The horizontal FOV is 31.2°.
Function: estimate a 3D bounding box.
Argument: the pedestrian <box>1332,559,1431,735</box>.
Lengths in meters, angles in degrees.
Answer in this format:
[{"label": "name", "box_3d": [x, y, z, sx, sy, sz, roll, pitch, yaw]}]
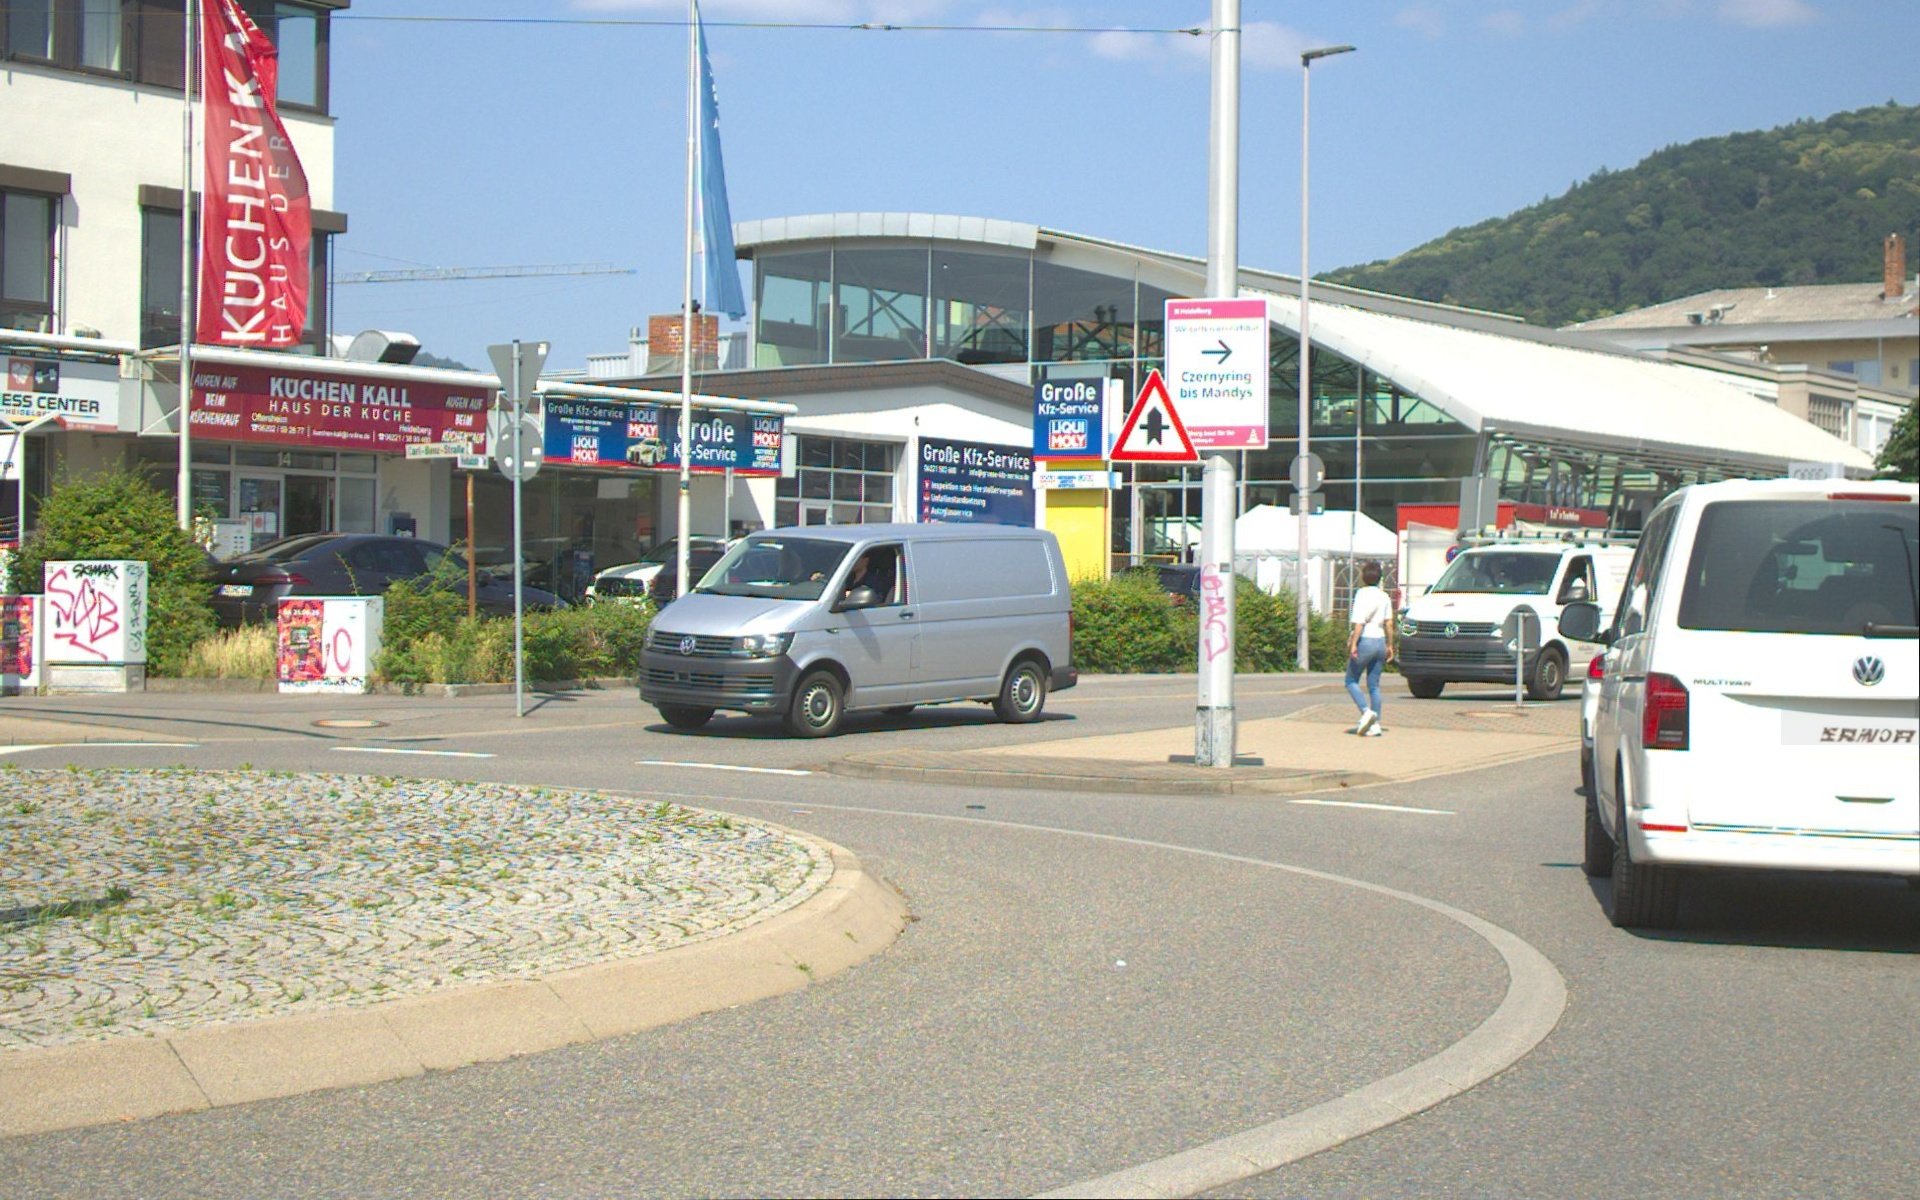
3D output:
[{"label": "pedestrian", "box_3d": [4.009, 0.440, 32.750, 0.759, 1.651, 0.673, 1, 0, -8]}]

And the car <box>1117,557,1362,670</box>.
[{"label": "car", "box_3d": [4.242, 0.175, 51.694, 1.997, 1.612, 3.992, 1, 1, 33]}]

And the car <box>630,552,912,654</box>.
[{"label": "car", "box_3d": [-2.750, 0.036, 51.053, 2.030, 1.422, 4.309, 1, 0, 32]}]

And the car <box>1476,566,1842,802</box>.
[{"label": "car", "box_3d": [5.549, 0.605, 27.892, 1.993, 1.727, 4.564, 1, 0, 0]}]

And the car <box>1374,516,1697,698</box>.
[{"label": "car", "box_3d": [7.239, 0.043, 42.864, 2.025, 2.107, 4.924, 2, 2, 35]}]

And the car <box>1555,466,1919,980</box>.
[{"label": "car", "box_3d": [4.058, 0.458, 16.237, 2.163, 2.006, 5.017, 3, 2, 7]}]

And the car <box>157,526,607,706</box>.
[{"label": "car", "box_3d": [-6.651, 0.163, 40.159, 1.964, 1.959, 5.269, 1, 1, 37]}]

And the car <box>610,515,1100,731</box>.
[{"label": "car", "box_3d": [-0.936, 0.206, 33.257, 1.932, 1.929, 4.817, 1, 1, 42]}]

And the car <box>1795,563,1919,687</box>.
[{"label": "car", "box_3d": [15.211, 0.375, 54.240, 2.026, 1.831, 4.858, 1, 1, 40]}]
